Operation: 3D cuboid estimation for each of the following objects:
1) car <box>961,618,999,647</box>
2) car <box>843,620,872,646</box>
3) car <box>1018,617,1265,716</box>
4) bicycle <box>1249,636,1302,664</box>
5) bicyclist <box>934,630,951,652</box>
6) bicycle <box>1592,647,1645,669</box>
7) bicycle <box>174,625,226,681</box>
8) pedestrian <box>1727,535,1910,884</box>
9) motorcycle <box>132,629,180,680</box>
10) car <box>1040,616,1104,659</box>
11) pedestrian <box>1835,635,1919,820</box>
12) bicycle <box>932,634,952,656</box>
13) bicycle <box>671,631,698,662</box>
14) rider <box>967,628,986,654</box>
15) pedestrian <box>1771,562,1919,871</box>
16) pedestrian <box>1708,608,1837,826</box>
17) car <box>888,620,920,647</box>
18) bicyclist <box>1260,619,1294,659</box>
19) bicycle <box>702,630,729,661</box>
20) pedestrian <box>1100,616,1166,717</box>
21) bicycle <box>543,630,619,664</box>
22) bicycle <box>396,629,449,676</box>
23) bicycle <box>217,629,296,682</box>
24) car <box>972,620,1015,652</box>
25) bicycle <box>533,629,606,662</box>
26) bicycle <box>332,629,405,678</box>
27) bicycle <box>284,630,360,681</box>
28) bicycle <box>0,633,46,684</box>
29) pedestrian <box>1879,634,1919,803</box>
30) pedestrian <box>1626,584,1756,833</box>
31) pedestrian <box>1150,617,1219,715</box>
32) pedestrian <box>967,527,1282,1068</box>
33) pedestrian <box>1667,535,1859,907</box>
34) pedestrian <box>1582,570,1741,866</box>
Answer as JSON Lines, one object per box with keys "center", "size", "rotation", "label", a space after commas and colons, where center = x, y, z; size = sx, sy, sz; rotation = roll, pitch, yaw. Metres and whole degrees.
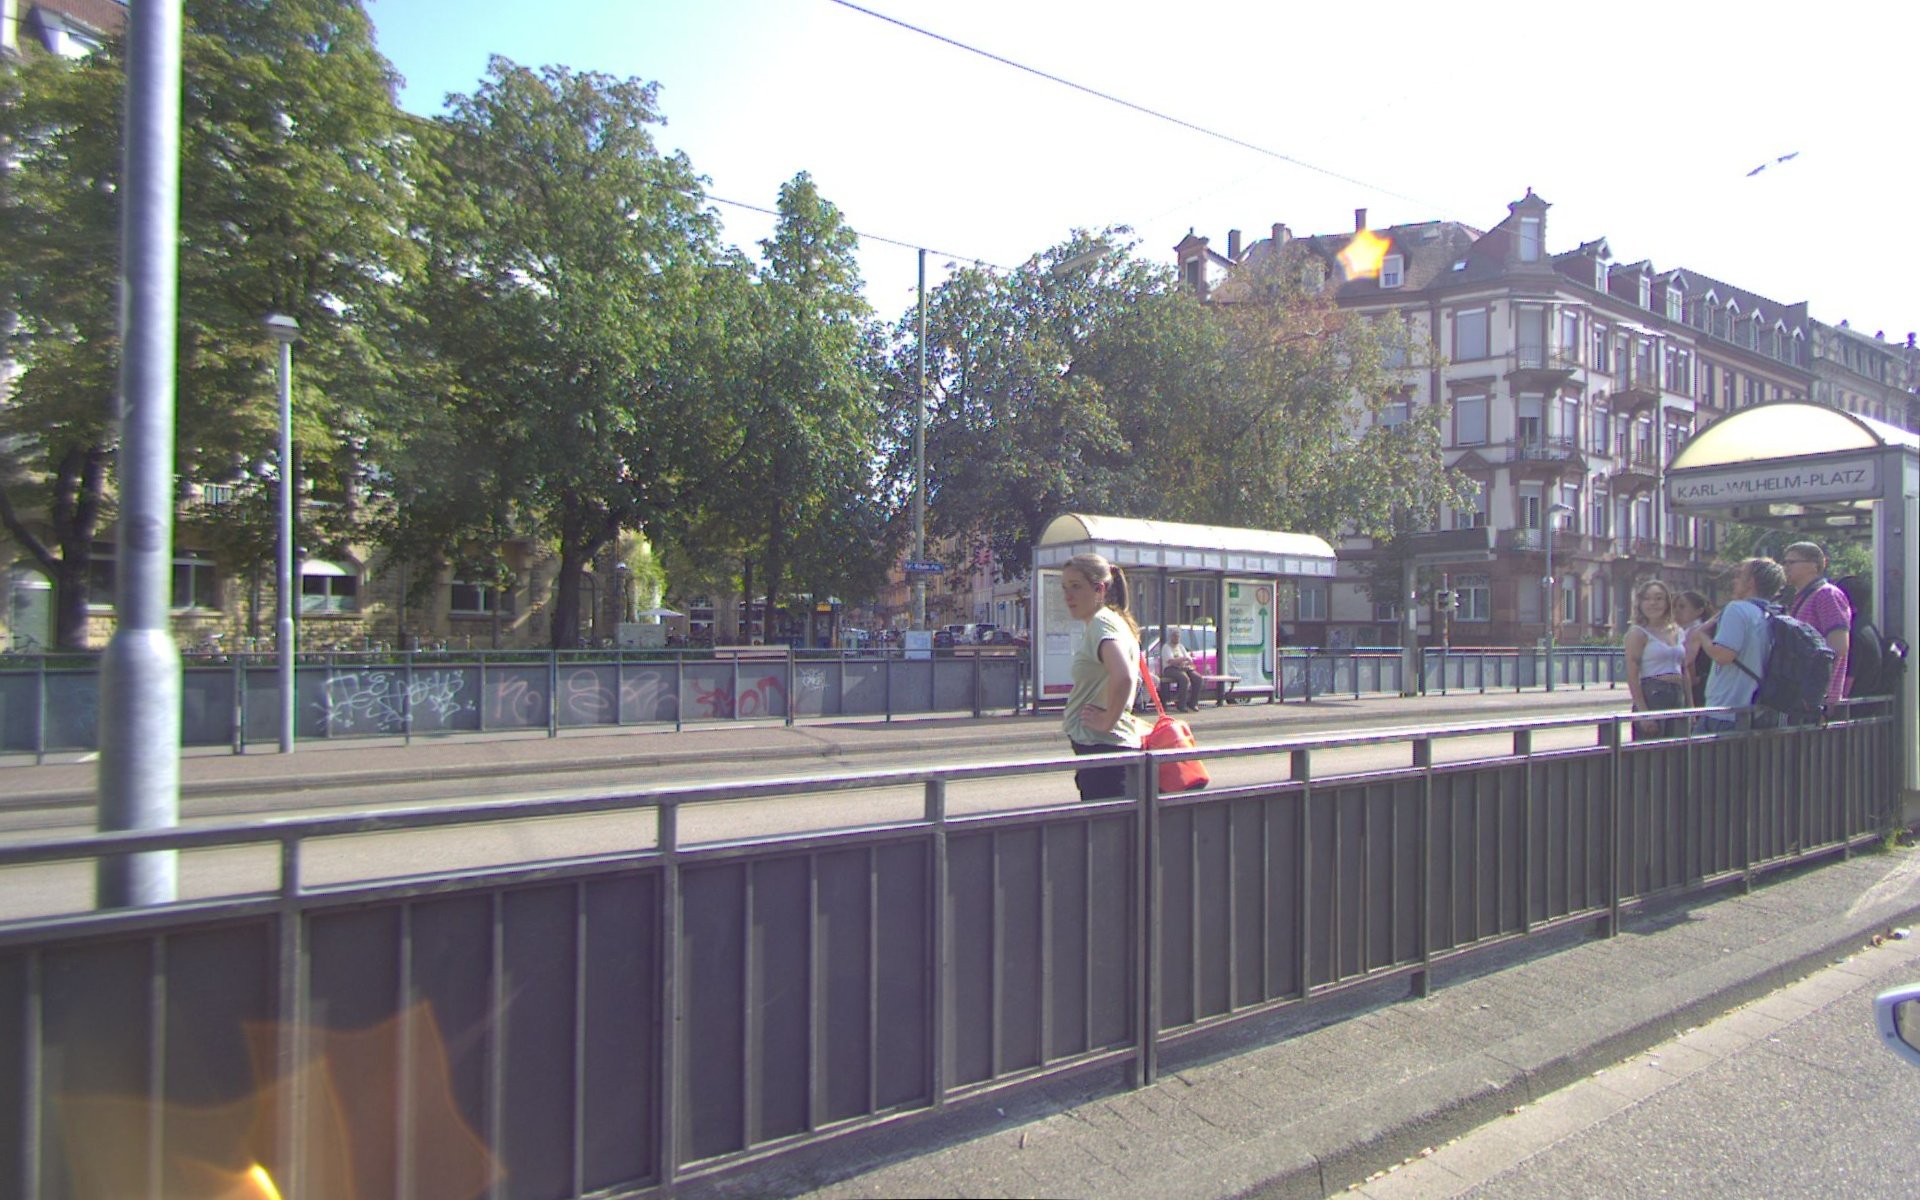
{"center": [1.419, 2.364, 73.910], "size": [2.042, 2.043, 4.585], "rotation": [1, -2, -9], "label": "car"}
{"center": [-8.312, 2.630, 81.153], "size": [2.042, 2.043, 4.585], "rotation": [1, -2, -9], "label": "car"}
{"center": [3.472, 1.205, 18.998], "size": [4.430, 1.672, 1.984], "rotation": [2, -2, -31], "label": "car"}
{"center": [11.703, 1.846, 37.297], "size": [1.759, 1.028, 0.656], "rotation": [0, -2, 31], "label": "bicycle"}
{"center": [-1.246, 2.910, 71.510], "size": [0.980, 1.531, 1.112], "rotation": [1, -1, -10], "label": "bicyclist"}
{"center": [27.131, 2.377, 41.406], "size": [1.791, 0.871, 0.528], "rotation": [1, -1, 6], "label": "bicycle"}
{"center": [-20.073, 1.372, 26.514], "size": [0.861, 1.389, 2.274], "rotation": [2, -2, -42], "label": "bicycle"}
{"center": [4.972, 0.600, 5.833], "size": [0.626, 1.872, 0.634], "rotation": [1, -1, -30], "label": "pedestrian"}
{"center": [-20.637, 1.385, 25.774], "size": [1.858, 1.193, 0.674], "rotation": [1, -1, 43], "label": "motorcycle"}
{"center": [5.517, 1.853, 50.103], "size": [2.042, 2.043, 4.585], "rotation": [1, -2, -9], "label": "car"}
{"center": [7.268, 0.952, 7.716], "size": [0.616, 1.357, 0.682], "rotation": [1, -1, -32], "label": "pedestrian"}
{"center": [-1.288, 3.168, 71.565], "size": [0.980, 1.474, 2.879], "rotation": [1, -1, -9], "label": "bicycle"}
{"center": [-10.222, 1.711, 37.213], "size": [0.647, 1.118, 2.080], "rotation": [1, -2, -24], "label": "bicycle"}
{"center": [1.059, 2.557, 62.935], "size": [0.980, 1.531, 1.112], "rotation": [1, -1, -10], "label": "rider"}
{"center": [5.524, 0.685, 6.231], "size": [0.600, 1.787, 0.586], "rotation": [1, -1, -30], "label": "pedestrian"}
{"center": [6.155, 0.851, 7.619], "size": [0.600, 1.565, 0.586], "rotation": [1, -1, -30], "label": "pedestrian"}
{"center": [-4.516, 2.677, 80.283], "size": [2.042, 2.043, 4.585], "rotation": [1, -2, -9], "label": "car"}
{"center": [11.763, 1.436, 37.271], "size": [1.061, 1.460, 0.656], "rotation": [0, -2, 31], "label": "bicyclist"}
{"center": [-9.186, 1.686, 37.687], "size": [0.647, 1.118, 2.080], "rotation": [1, -2, -24], "label": "bicycle"}
{"center": [2.610, 0.987, 15.189], "size": [0.710, 1.475, 0.673], "rotation": [1, -2, -31], "label": "pedestrian"}
{"center": [-12.928, 1.613, 34.302], "size": [2.310, 1.118, 0.767], "rotation": [2, -2, -35], "label": "bicycle"}
{"center": [-16.750, 1.614, 31.294], "size": [0.862, 1.389, 2.273], "rotation": [2, -2, -44], "label": "bicycle"}
{"center": [-19.373, 1.497, 27.661], "size": [2.262, 1.389, 0.866], "rotation": [0, -2, 29], "label": "bicycle"}
{"center": [2.196, 2.381, 67.332], "size": [2.042, 2.043, 4.585], "rotation": [1, -2, -9], "label": "car"}
{"center": [-13.809, 1.615, 35.539], "size": [2.310, 1.118, 0.650], "rotation": [2, -2, -35], "label": "bicycle"}
{"center": [-17.714, 1.591, 30.067], "size": [2.262, 1.389, 0.866], "rotation": [0, -2, 29], "label": "bicycle"}
{"center": [-18.357, 1.579, 28.906], "size": [2.262, 1.389, 0.866], "rotation": [0, -2, 29], "label": "bicycle"}
{"center": [-21.484, 1.270, 22.237], "size": [2.294, 1.093, 0.697], "rotation": [0, -1, 15], "label": "bicycle"}
{"center": [8.258, 0.986, 8.399], "size": [0.616, 1.396, 0.704], "rotation": [1, -1, -32], "label": "pedestrian"}
{"center": [5.416, 0.771, 7.454], "size": [0.600, 1.743, 0.586], "rotation": [1, -1, -30], "label": "pedestrian"}
{"center": [3.518, 1.017, 15.752], "size": [0.710, 1.475, 0.788], "rotation": [1, -2, -31], "label": "pedestrian"}
{"center": [0.617, 0.627, 3.719], "size": [0.804, 1.676, 0.862], "rotation": [-1, -2, 44], "label": "pedestrian"}
{"center": [4.384, 0.619, 5.501], "size": [0.626, 1.872, 0.634], "rotation": [1, -1, -30], "label": "pedestrian"}
{"center": [4.499, 0.719, 6.456], "size": [0.626, 1.771, 0.634], "rotation": [1, -1, -30], "label": "pedestrian"}
